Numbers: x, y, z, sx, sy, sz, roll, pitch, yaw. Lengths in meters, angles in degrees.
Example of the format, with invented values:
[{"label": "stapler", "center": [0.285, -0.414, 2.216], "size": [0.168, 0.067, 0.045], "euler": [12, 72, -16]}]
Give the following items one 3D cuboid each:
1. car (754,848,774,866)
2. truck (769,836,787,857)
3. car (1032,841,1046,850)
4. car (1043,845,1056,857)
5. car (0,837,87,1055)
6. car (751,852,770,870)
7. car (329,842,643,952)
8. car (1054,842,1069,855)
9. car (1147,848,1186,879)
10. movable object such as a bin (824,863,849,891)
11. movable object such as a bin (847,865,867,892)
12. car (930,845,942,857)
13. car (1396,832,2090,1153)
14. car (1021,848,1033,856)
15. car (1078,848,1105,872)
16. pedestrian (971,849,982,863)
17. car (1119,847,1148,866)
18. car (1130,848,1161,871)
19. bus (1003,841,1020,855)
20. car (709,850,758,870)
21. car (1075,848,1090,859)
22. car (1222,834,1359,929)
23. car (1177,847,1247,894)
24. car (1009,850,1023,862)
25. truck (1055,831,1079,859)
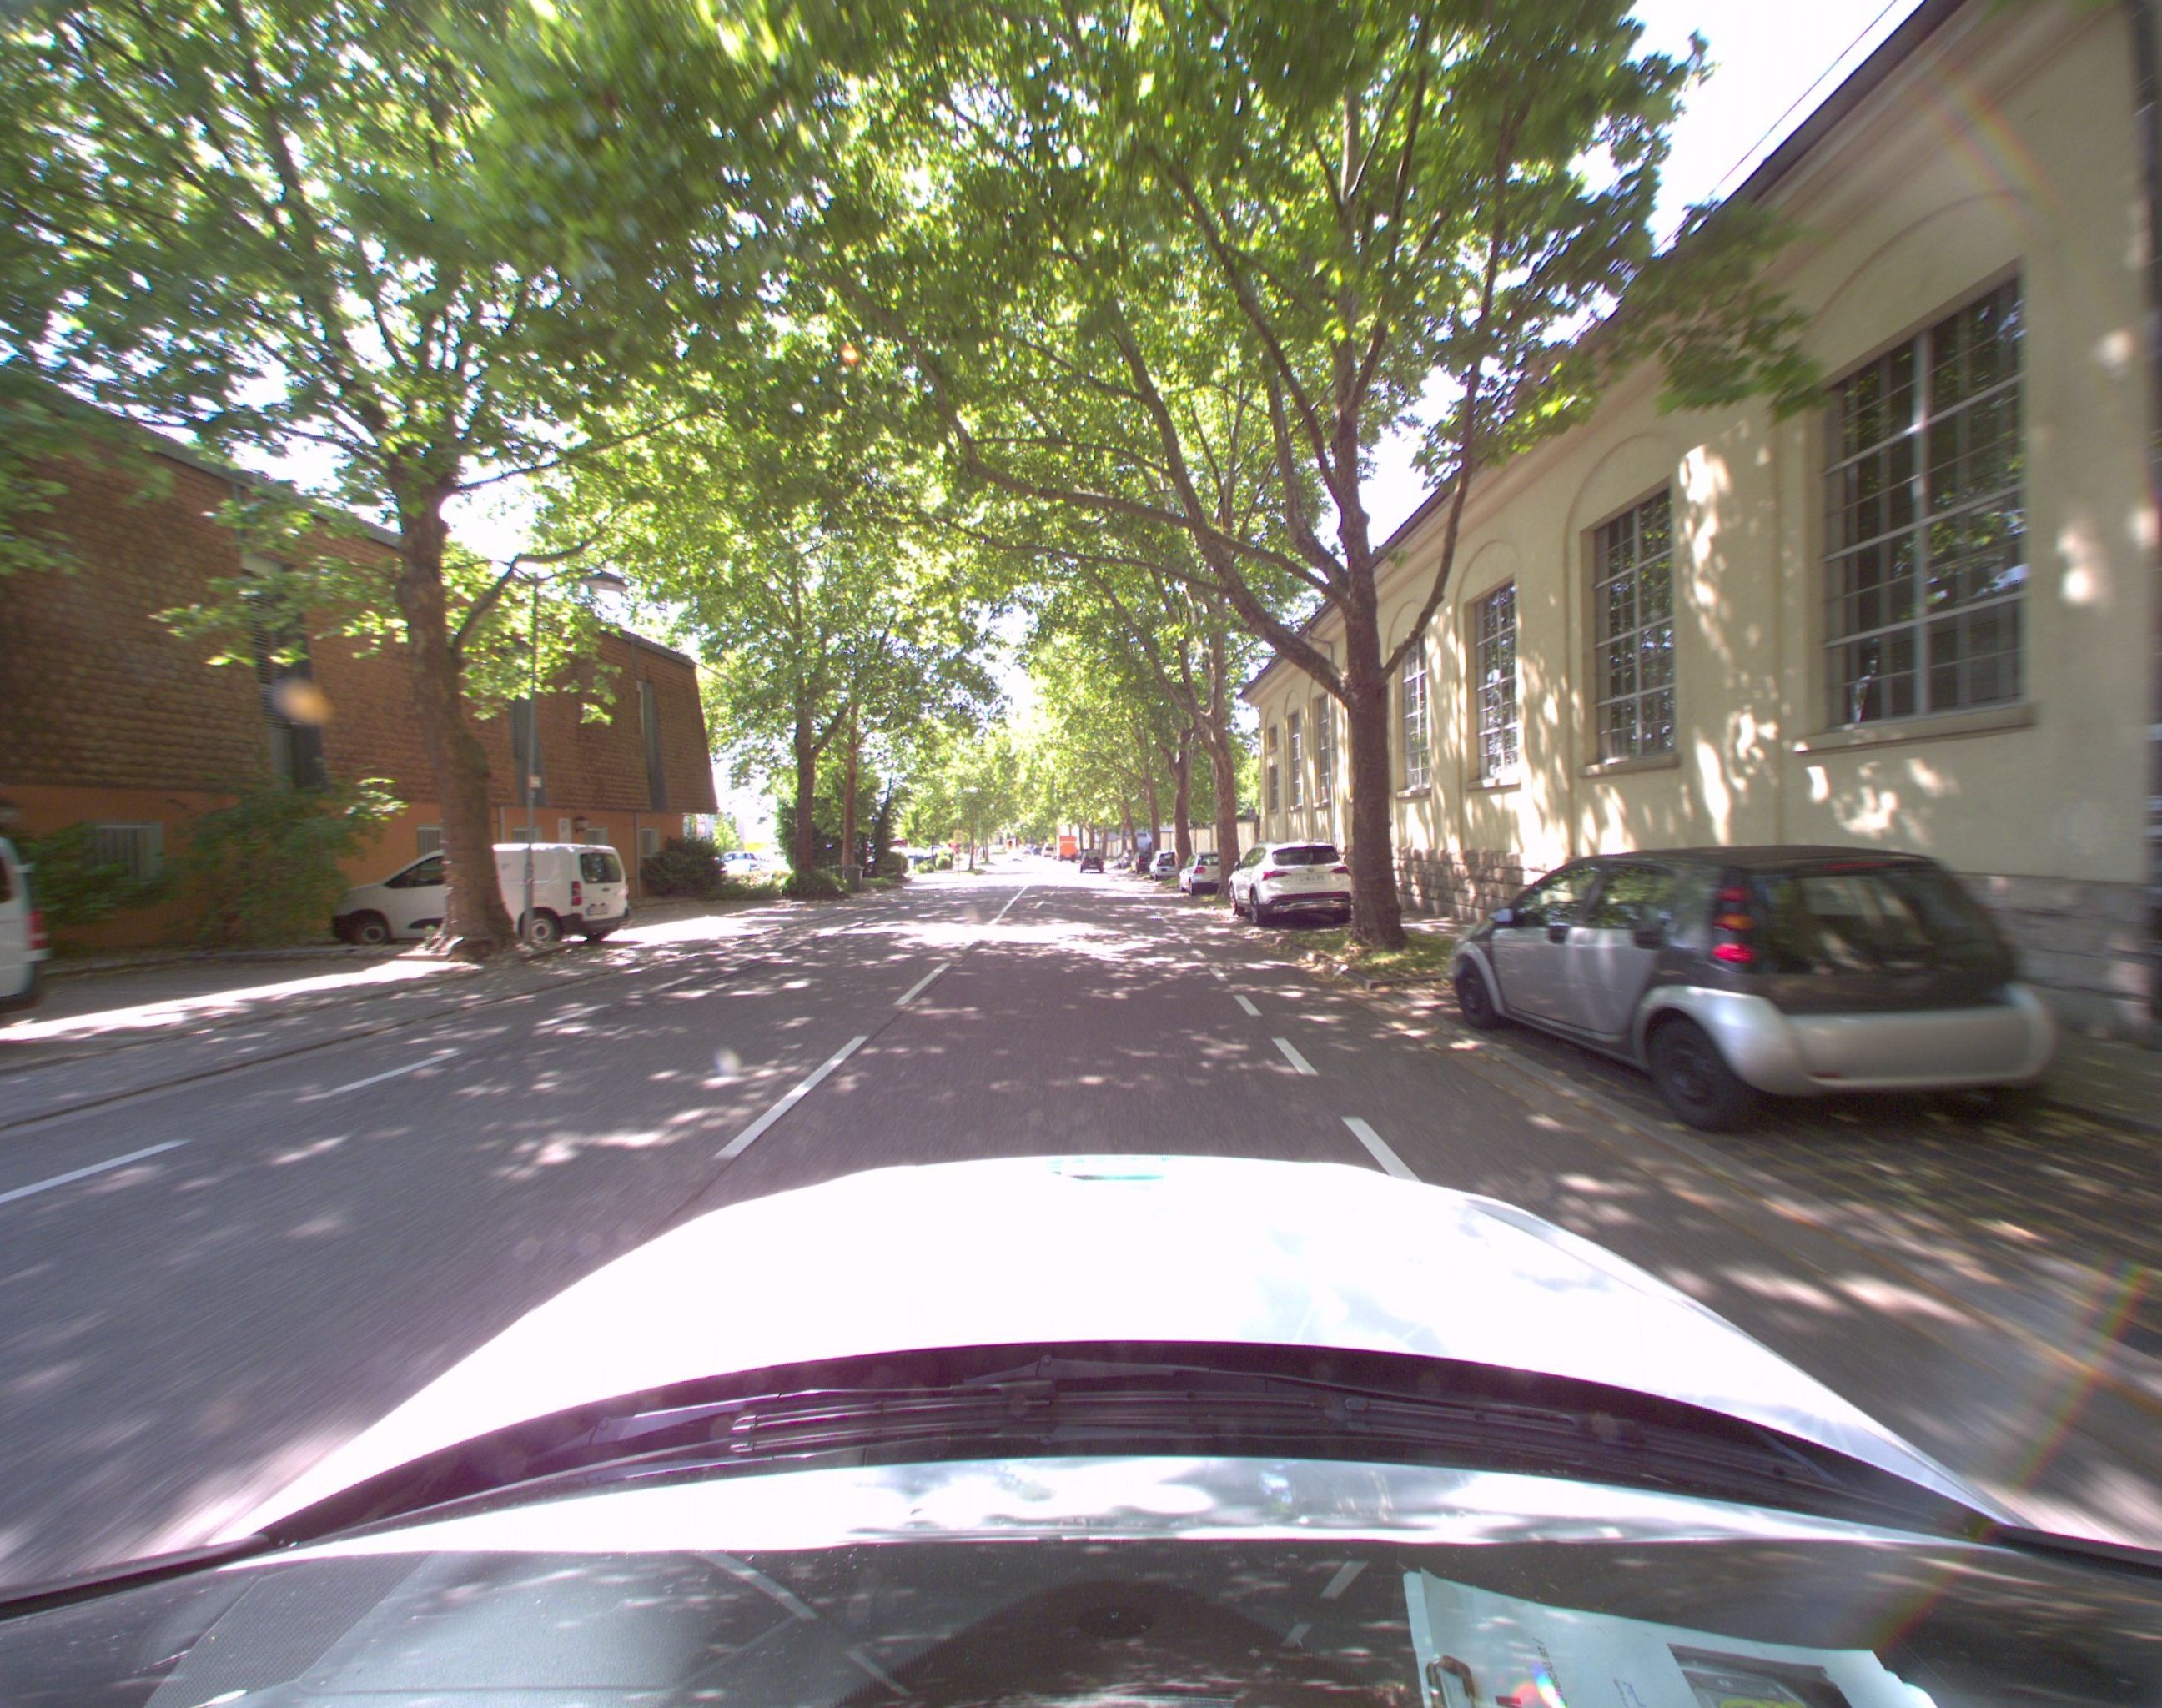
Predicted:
[{"label": "car", "center": [-30.417, 0.291, 78.202], "size": [1.607, 1.586, 3.743], "euler": [-2, -1, -20]}, {"label": "truck", "center": [-44.241, -1.063, 118.917], "size": [2.329, 2.892, 6.535], "euler": [-2, -1, -21]}, {"label": "car", "center": [-7.222, -1.428, 139.339], "size": [1.768, 1.374, 3.715], "euler": [-3, 0, -11]}, {"label": "car", "center": [-4.878, -0.498, 124.143], "size": [1.875, 1.685, 3.995], "euler": [-2, -1, -3]}, {"label": "car", "center": [-11.115, 0.769, 6.281], "size": [4.411, 1.804, 1.902], "euler": [0, 0, -2]}, {"label": "car", "center": [-38.138, 0.818, 97.042], "size": [2.001, 2.014, 3.972], "euler": [-2, -1, -20]}, {"label": "car", "center": [-10.350, 0.703, 14.437], "size": [4.117, 1.804, 1.902], "euler": [0, 0, -2]}, {"label": "car", "center": [-2.608, -0.714, 110.142], "size": [1.774, 1.704, 3.993], "euler": [-2, -1, -5]}, {"label": "car", "center": [4.461, 0.456, 43.016], "size": [1.572, 1.465, 3.875], "euler": [-3, 0, 0]}, {"label": "movable object such as a bin", "center": [-9.818, 0.925, 32.707], "size": [0.732, 1.078, 0.701], "euler": [-2, 0, 1]}, {"label": "movable object such as a bin", "center": [-9.017, 0.994, 32.792], "size": [0.621, 1.048, 0.620], "euler": [-2, 0, 1]}, {"label": "car", "center": [-25.057, -0.527, 140.581], "size": [1.995, 2.014, 3.984], "euler": [-2, -1, -11]}, {"label": "car", "center": [4.007, 0.644, 6.093], "size": [1.615, 1.439, 4.434], "euler": [-3, 0, 1]}, {"label": "car", "center": [-10.305, -0.335, 155.596], "size": [1.767, 1.374, 3.716], "euler": [-3, 0, -11]}, {"label": "car", "center": [0.749, 0.415, 58.888], "size": [1.706, 1.447, 4.056], "euler": [-2, 2, -2]}, {"label": "pedestrian", "center": [-11.287, 0.218, 88.121], "size": [1.093, 1.520, 0.967], "euler": [-1, 0, -8]}, {"label": "car", "center": [4.190, 0.205, 65.360], "size": [1.763, 1.374, 3.725], "euler": [-3, 0, -3]}, {"label": "car", "center": [4.376, 0.344, 55.507], "size": [1.761, 1.465, 3.875], "euler": [-3, 0, 0]}, {"label": "bus", "center": [-15.896, -1.329, 186.433], "size": [2.665, 3.150, 11.155], "euler": [-2, 0, -11]}, {"label": "car", "center": [-30.288, 0.516, 71.107], "size": [3.771, 1.585, 1.595], "euler": [-2, 0, -21]}, {"label": "car", "center": [0.182, -0.092, 113.603], "size": [1.763, 1.374, 3.725], "euler": [-3, 0, -3]}, {"label": "car", "center": [4.391, 0.504, 17.825], "size": [1.801, 1.689, 4.753], "euler": [-3, 0, 1]}, {"label": "car", "center": [4.521, 0.512, 28.518], "size": [1.761, 1.433, 3.875], "euler": [-3, 0, 0]}, {"label": "car", "center": [-8.303, 0.271, 103.667], "size": [1.708, 1.447, 4.052], "euler": [-3, 0, -4]}, {"label": "truck", "center": [-1.705, -1.039, 97.487], "size": [2.367, 3.134, 5.758], "euler": [-2, -1, -5]}]
